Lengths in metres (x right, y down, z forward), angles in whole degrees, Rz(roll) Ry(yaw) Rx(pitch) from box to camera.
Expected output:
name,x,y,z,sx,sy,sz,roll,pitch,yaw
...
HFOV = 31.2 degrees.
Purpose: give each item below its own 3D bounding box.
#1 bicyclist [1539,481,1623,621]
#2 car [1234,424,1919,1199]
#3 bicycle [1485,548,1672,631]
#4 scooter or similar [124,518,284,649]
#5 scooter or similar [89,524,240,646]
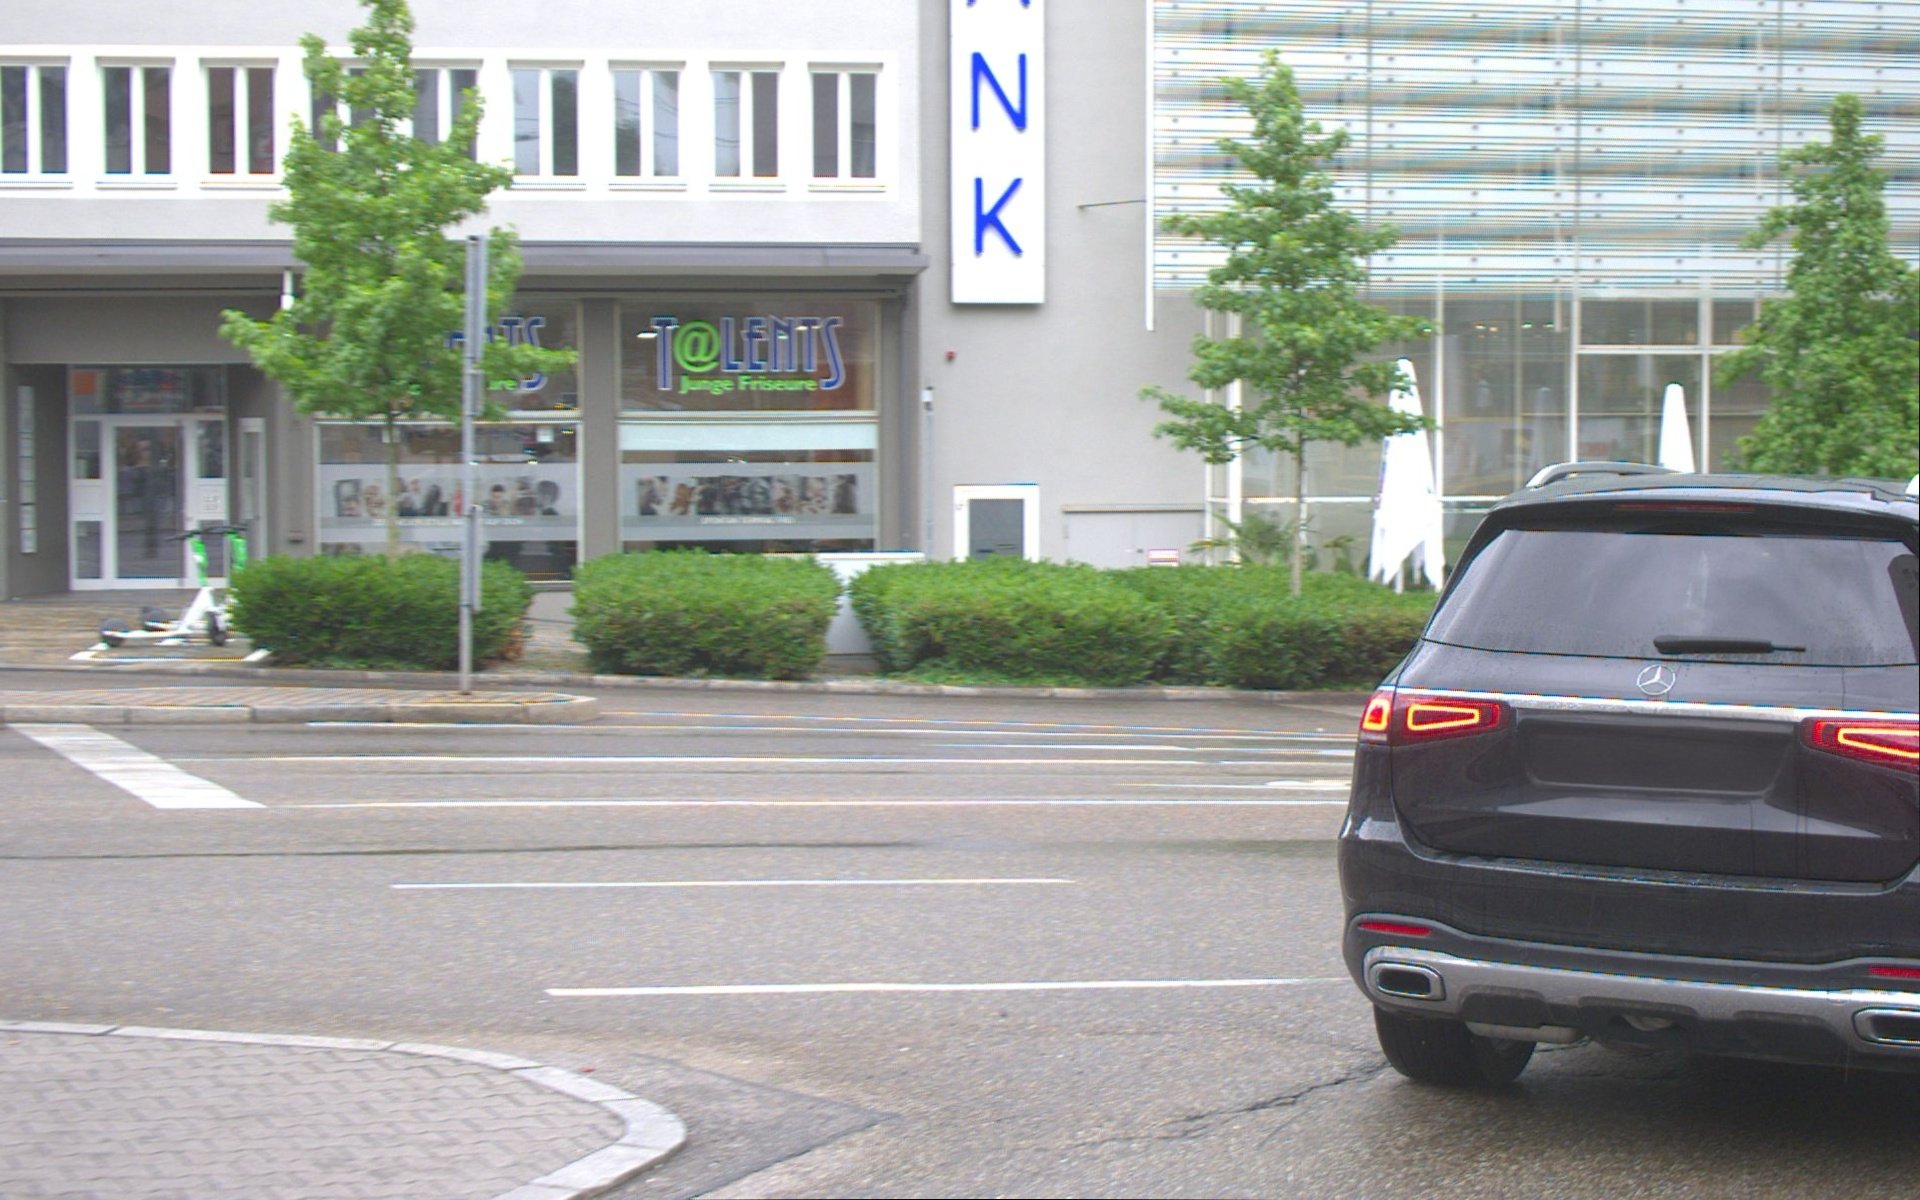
name,x,y,z,sx,sy,sz,roll,pitch,yaw
bicyclist,7.625,-0.608,42.253,0.844,1.698,0.623,0,2,-10
car,2.800,0.508,10.619,2.091,1.811,4.785,3,1,28
bicycle,7.596,-0.134,42.252,2.137,0.989,0.694,0,2,-10
scooter or similar,-7.824,-0.174,35.615,1.496,1.252,0.931,1,5,-5
scooter or similar,-7.833,-0.157,33.892,1.379,1.183,0.544,0,2,-5
